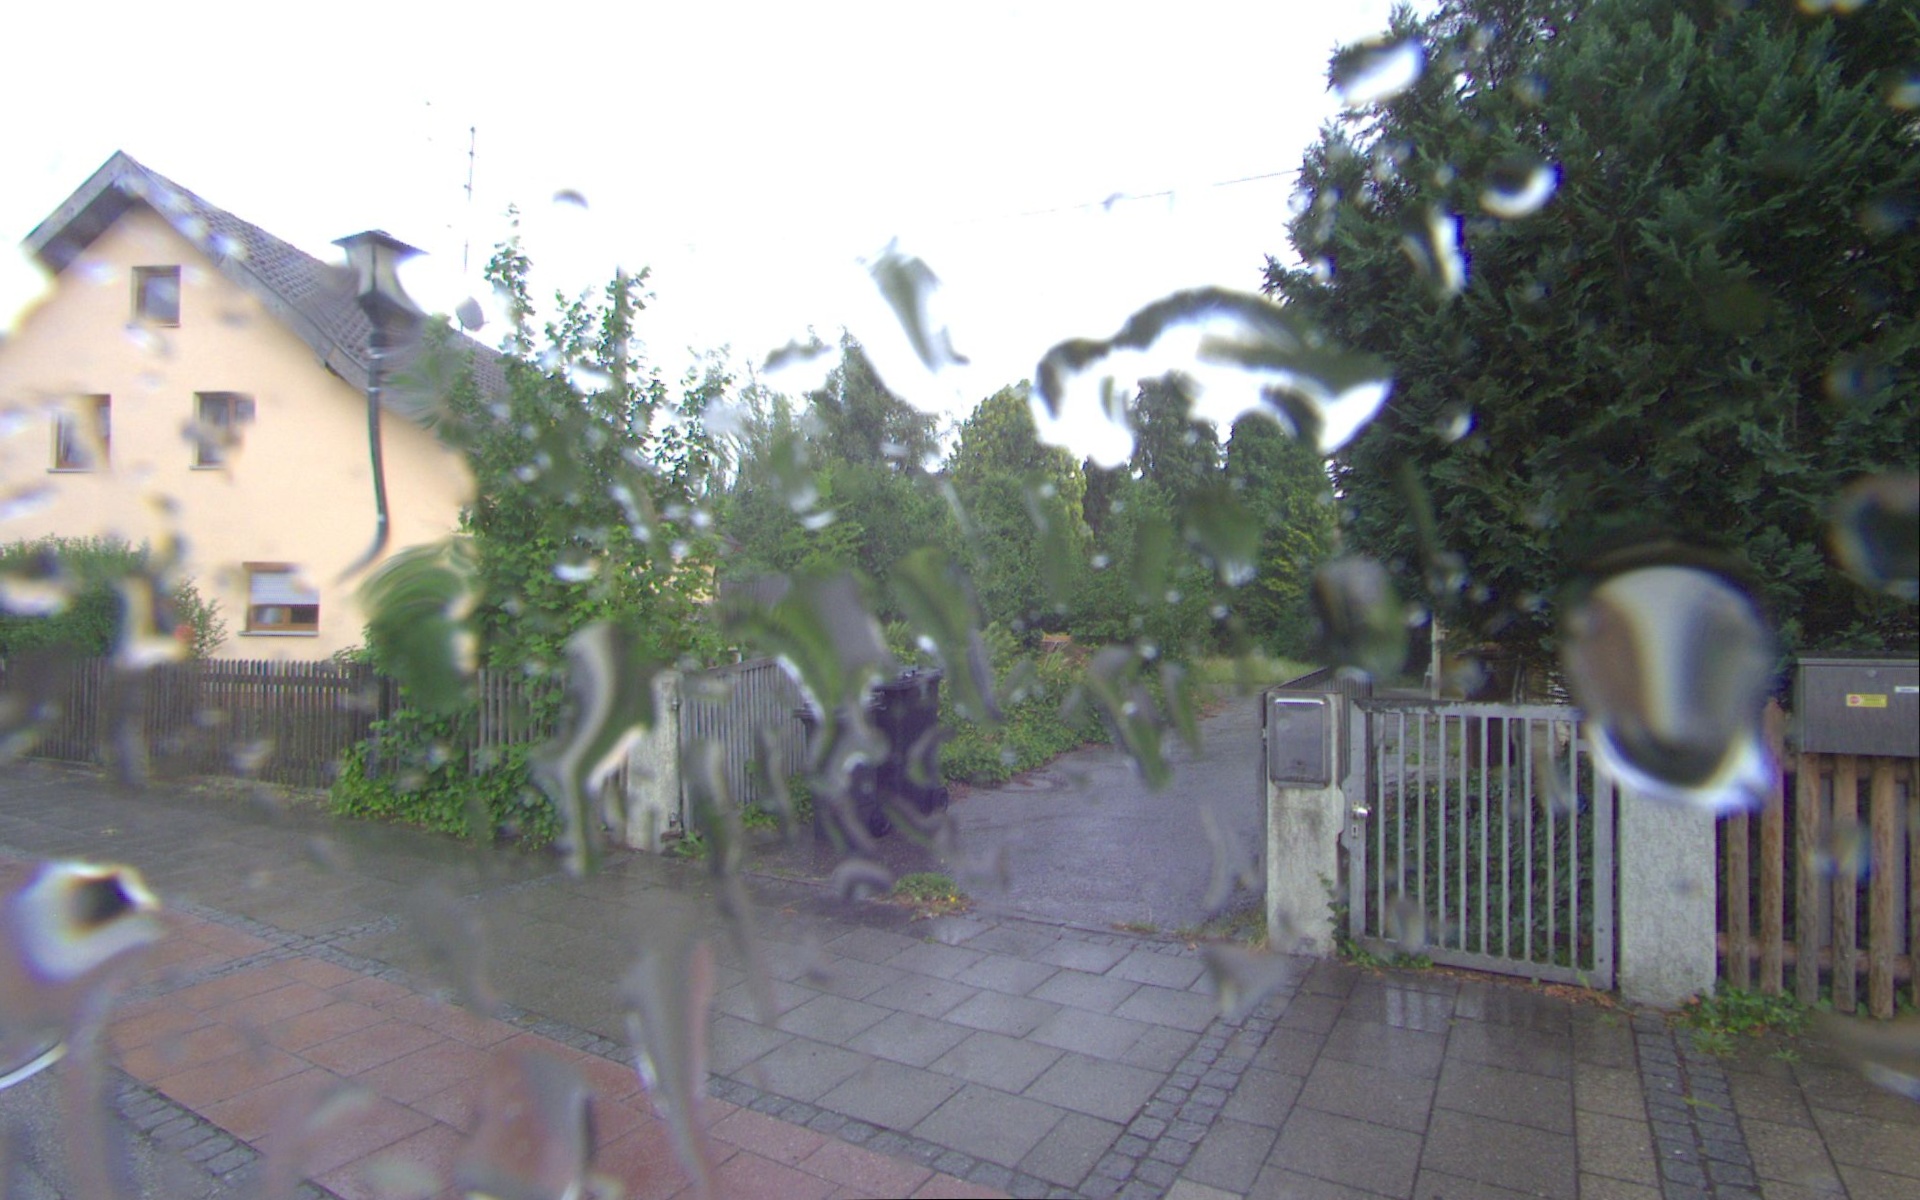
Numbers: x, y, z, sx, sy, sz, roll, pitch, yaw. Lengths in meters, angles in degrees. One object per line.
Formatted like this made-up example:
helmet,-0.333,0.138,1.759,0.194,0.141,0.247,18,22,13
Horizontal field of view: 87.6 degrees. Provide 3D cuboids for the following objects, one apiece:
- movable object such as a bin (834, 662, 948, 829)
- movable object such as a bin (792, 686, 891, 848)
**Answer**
movable object such as a bin,-0.477,0.986,6.986,0.545,1.054,0.574,-1,1,33
movable object such as a bin,-0.760,1.054,6.447,0.440,0.948,0.432,-1,1,33
